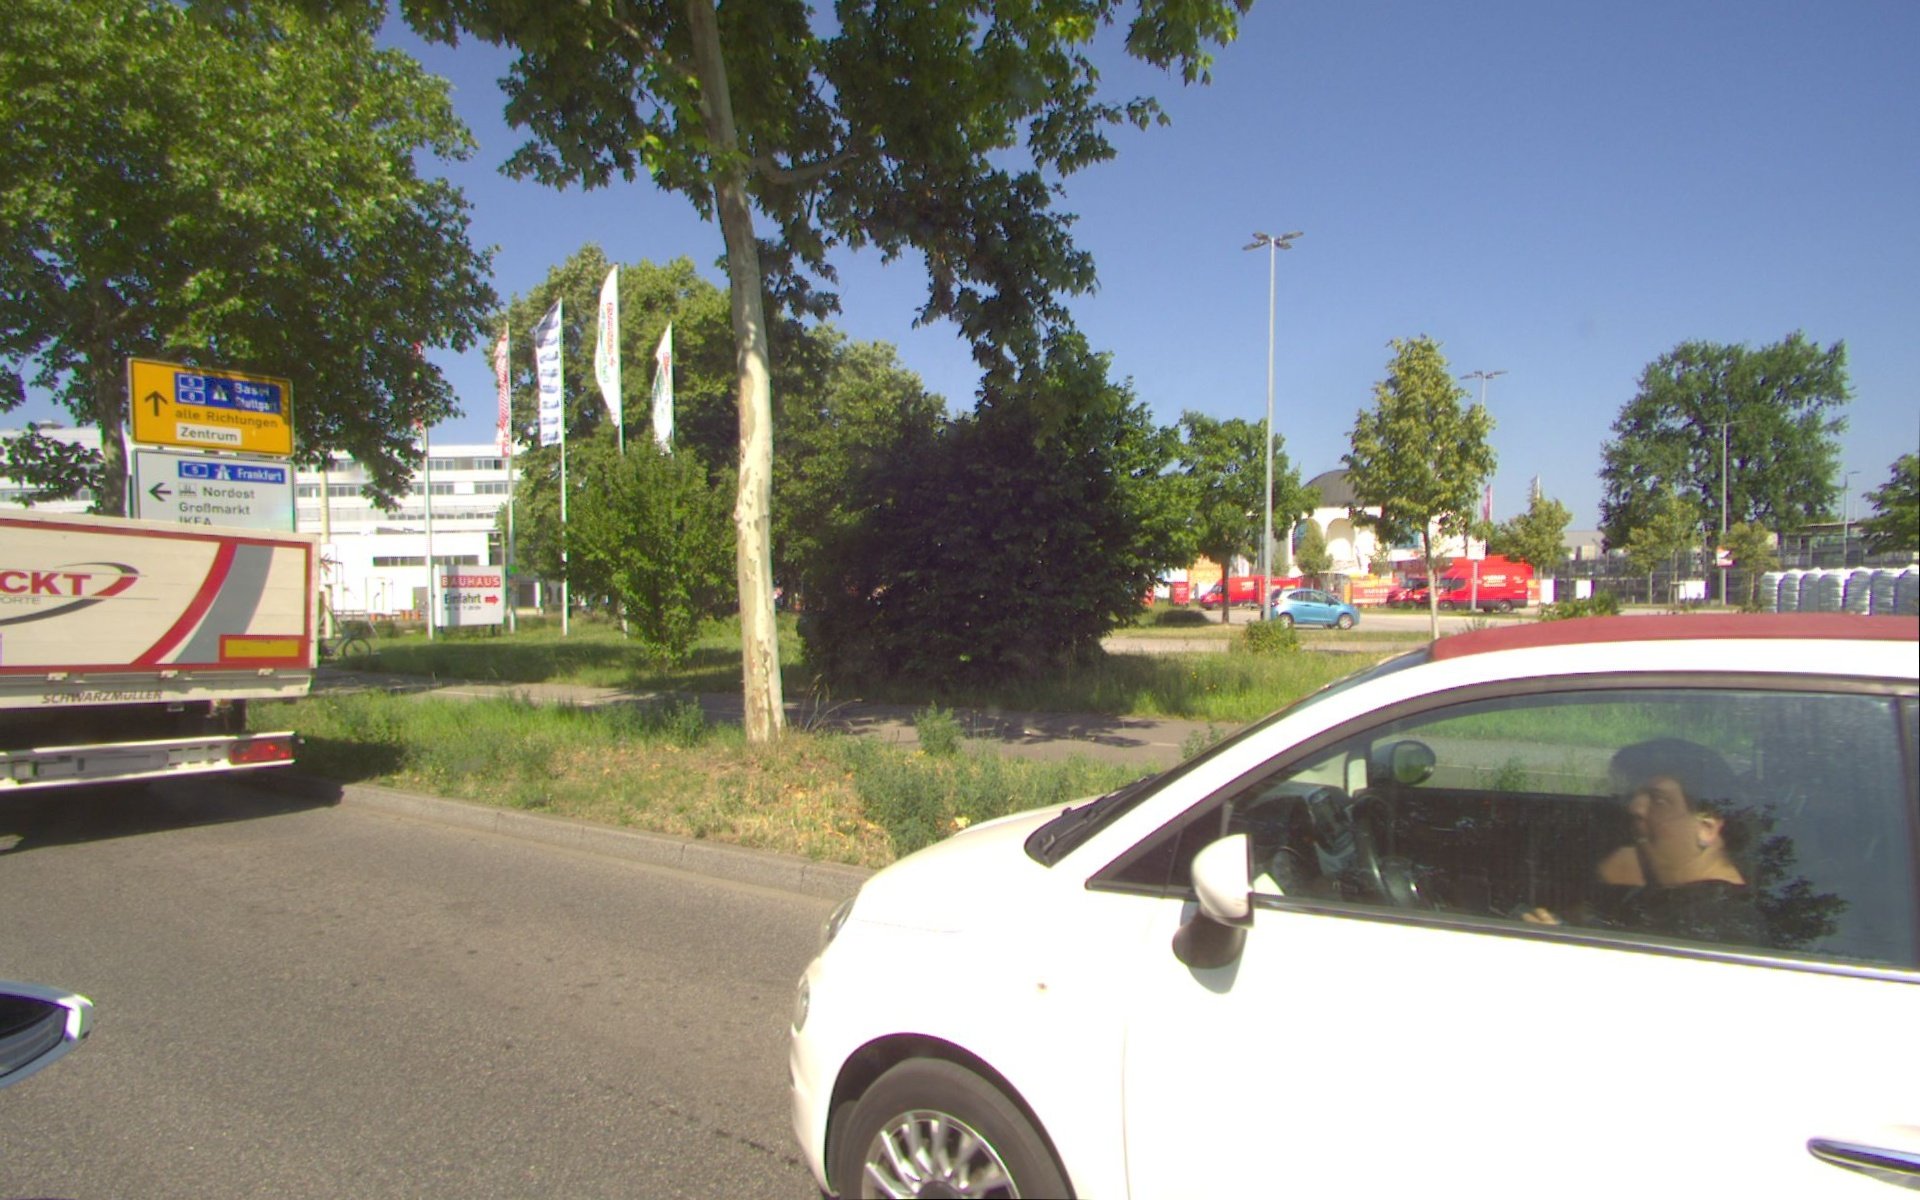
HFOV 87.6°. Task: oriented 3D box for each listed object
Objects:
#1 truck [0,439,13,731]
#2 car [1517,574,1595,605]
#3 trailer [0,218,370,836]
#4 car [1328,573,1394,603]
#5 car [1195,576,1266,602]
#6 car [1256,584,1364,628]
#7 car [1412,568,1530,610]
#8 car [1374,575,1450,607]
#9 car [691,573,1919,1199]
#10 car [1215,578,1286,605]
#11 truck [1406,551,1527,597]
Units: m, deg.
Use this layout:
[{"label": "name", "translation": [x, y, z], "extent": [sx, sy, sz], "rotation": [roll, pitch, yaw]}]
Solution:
[{"label": "truck", "translation": [-16.347, -0.153, 13.825], "extent": [7.370, 3.806, 3.066], "rotation": [-1, -1, 32]}, {"label": "car", "translation": [41.956, -0.728, 70.540], "extent": [4.304, 2.040, 2.000], "rotation": [0, -1, -2]}, {"label": "trailer", "translation": [-10.540, -0.328, 10.045], "extent": [12.070, 3.789, 3.009], "rotation": [-1, -1, 34]}, {"label": "car", "translation": [28.748, -0.868, 71.923], "extent": [3.922, 2.040, 2.000], "rotation": [0, -1, 2]}, {"label": "car", "translation": [21.759, -0.881, 80.690], "extent": [5.188, 2.040, 2.000], "rotation": [0, -1, -4]}, {"label": "car", "translation": [12.960, 0.231, 37.257], "extent": [3.387, 1.591, 1.745], "rotation": [0, -1, -2]}, {"label": "car", "translation": [29.887, -0.629, 58.682], "extent": [5.823, 2.371, 2.115], "rotation": [0, -1, 2]}, {"label": "car", "translation": [28.165, -0.550, 62.476], "extent": [3.924, 1.884, 1.999], "rotation": [-1, -1, 11]}, {"label": "car", "translation": [1.251, 0.716, 2.081], "extent": [3.472, 1.455, 1.657], "rotation": [-1, -1, 35]}, {"label": "car", "translation": [21.752, -0.600, 75.087], "extent": [4.824, 1.906, 1.770], "rotation": [0, -1, 2]}, {"label": "truck", "translation": [37.783, -1.907, 74.748], "extent": [8.067, 3.290, 2.000], "rotation": [0, -1, -2]}]
